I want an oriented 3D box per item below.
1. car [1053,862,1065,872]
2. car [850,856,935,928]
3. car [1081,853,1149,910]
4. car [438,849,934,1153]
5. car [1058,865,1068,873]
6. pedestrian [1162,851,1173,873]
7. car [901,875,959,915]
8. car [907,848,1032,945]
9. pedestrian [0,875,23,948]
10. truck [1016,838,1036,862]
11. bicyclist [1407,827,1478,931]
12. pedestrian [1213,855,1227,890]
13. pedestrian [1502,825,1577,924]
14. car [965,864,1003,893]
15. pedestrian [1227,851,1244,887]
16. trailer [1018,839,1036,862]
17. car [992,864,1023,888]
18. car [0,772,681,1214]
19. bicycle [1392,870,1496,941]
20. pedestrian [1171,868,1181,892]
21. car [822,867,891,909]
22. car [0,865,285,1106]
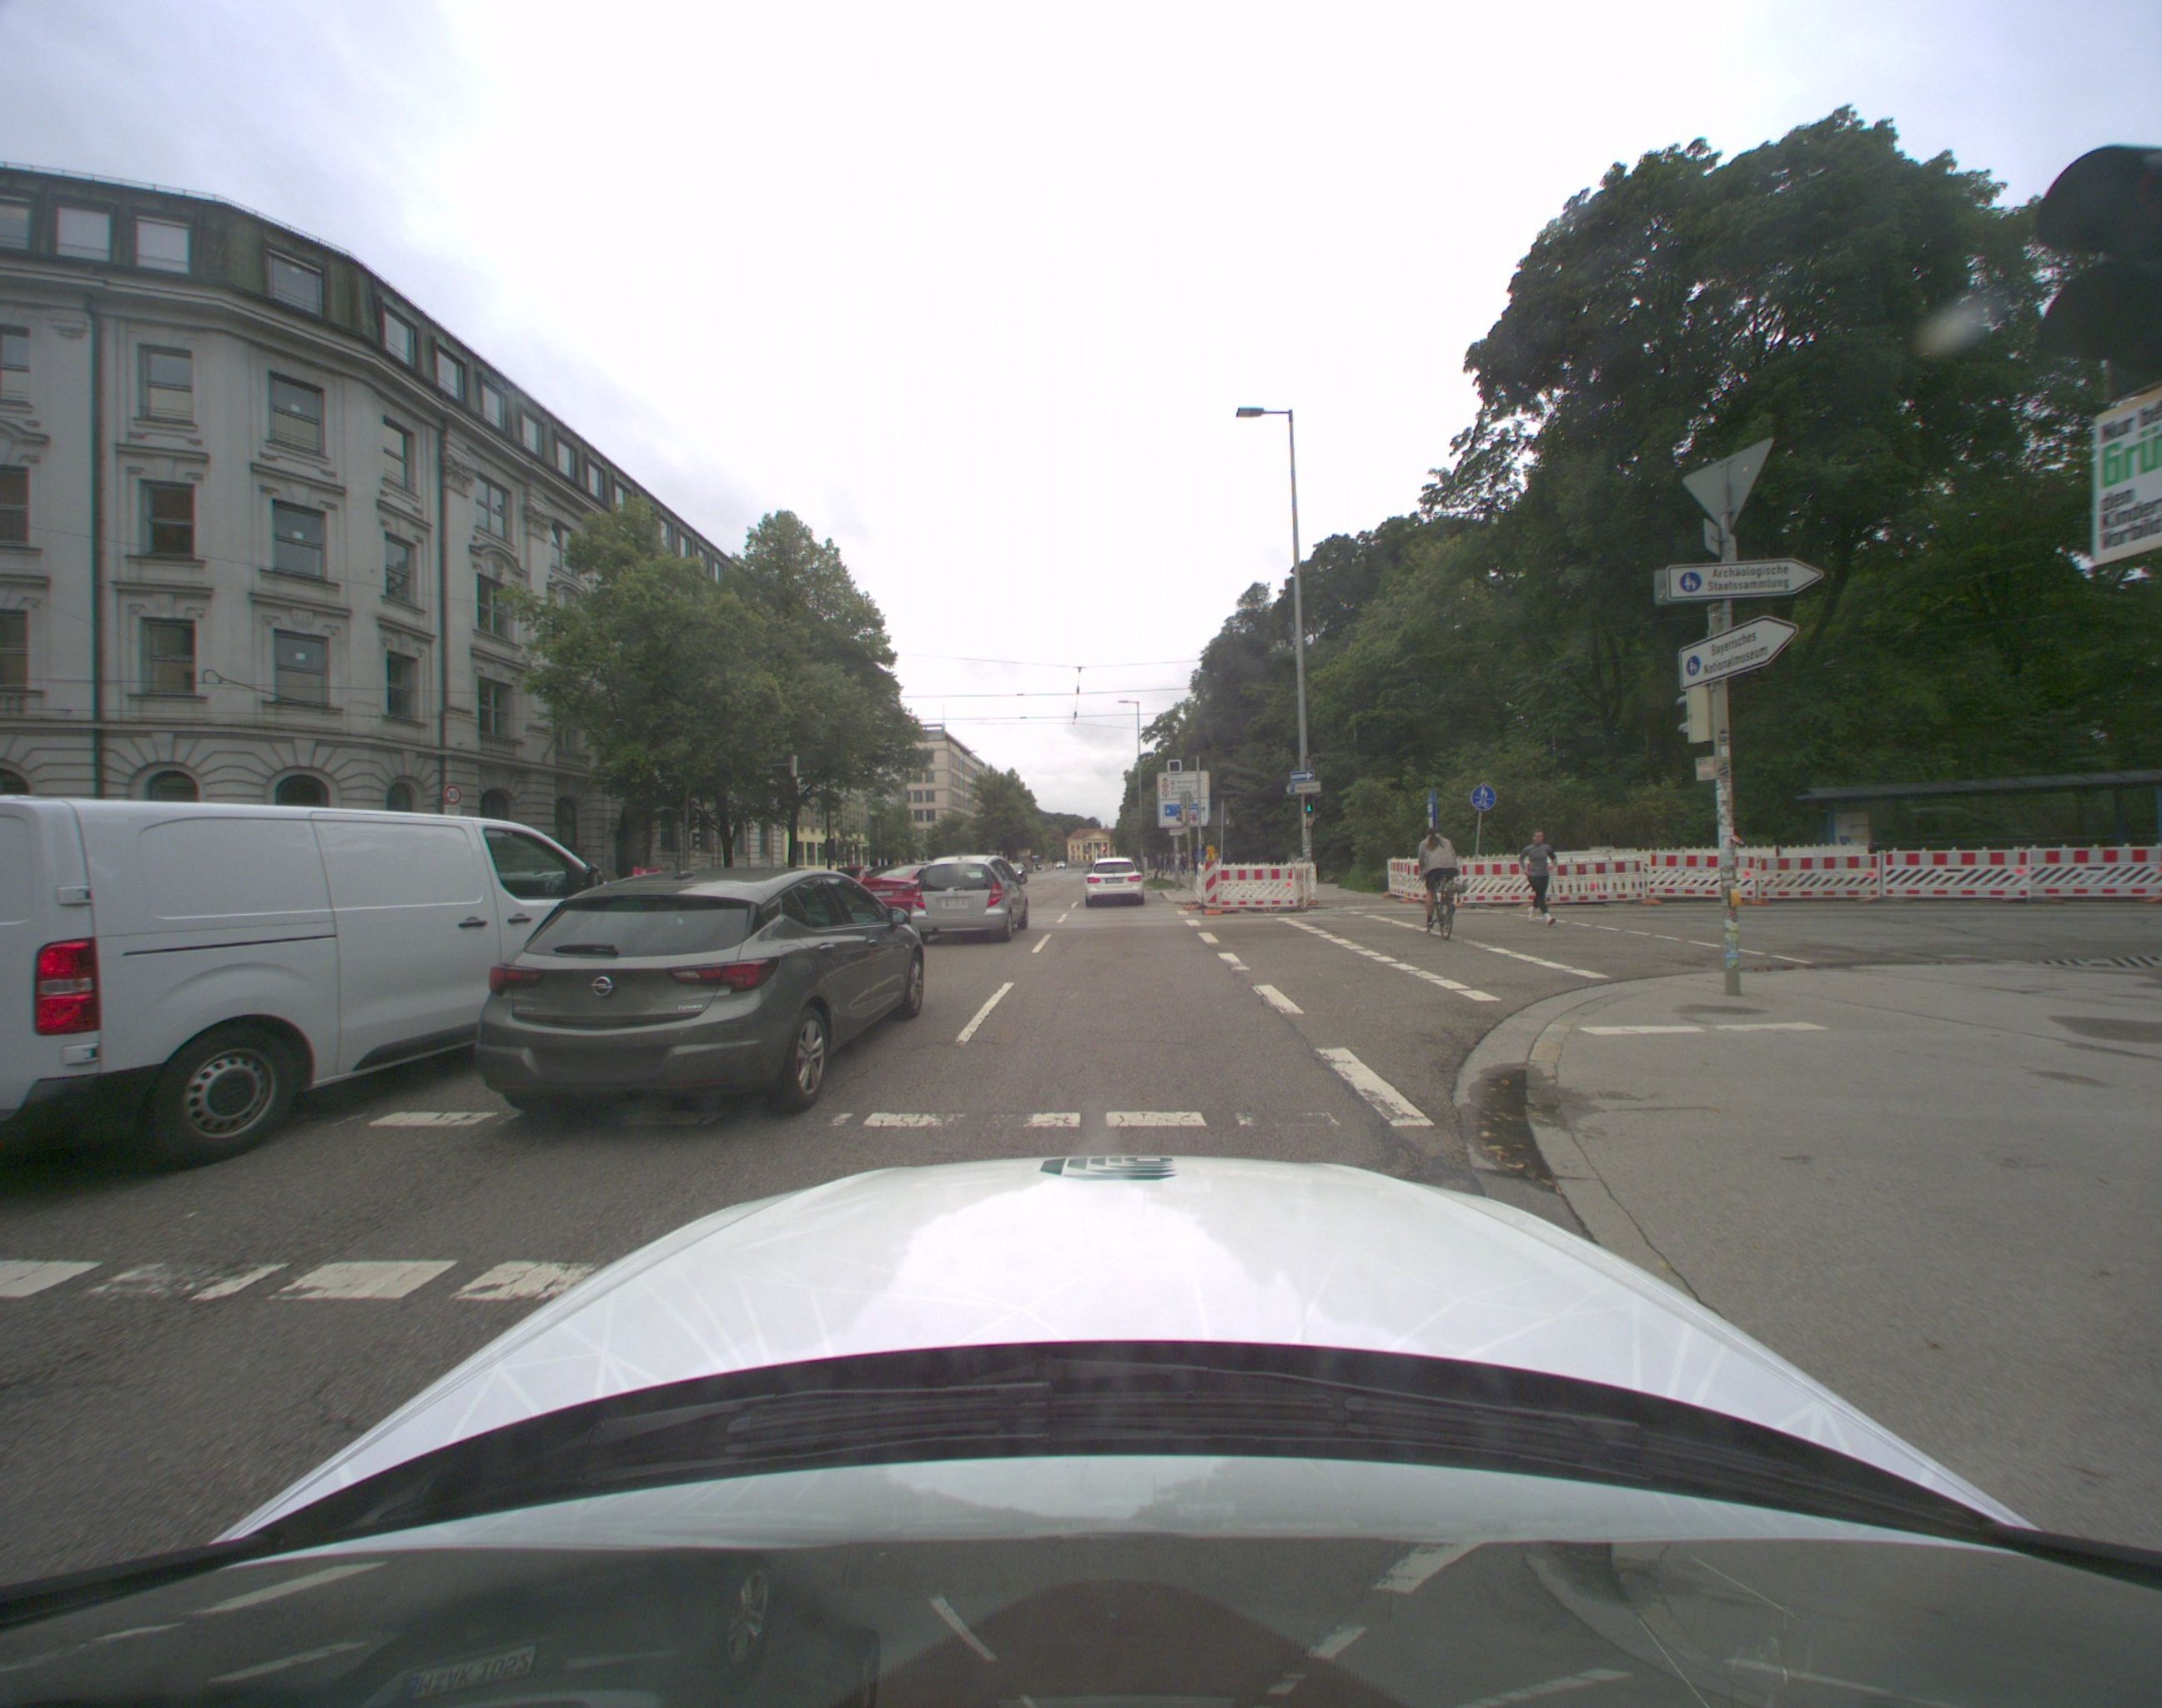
[{"bbox_3d":[-4.312,2.515,160.865,1.850,1.748,4.633,-3,0,3],"label":"car"},{"bbox_3d":[-4.695,0.888,20.795,1.778,1.654,3.988,0,-1,-8],"label":"car"},{"bbox_3d":[0.987,0.813,25.600,1.775,1.644,3.996,0,-1,-3],"label":"car"},{"bbox_3d":[-2.393,0.770,6.181,1.704,1.552,4.001,0,-1,2],"label":"car"},{"bbox_3d":[-3.589,3.072,165.221,1.710,1.640,3.509,-2,-1,2],"label":"car"},{"bbox_3d":[7.543,0.689,70.983,0.795,1.881,0.547,-1,-1,38],"label":"pedestrian"},{"bbox_3d":[-6.710,1.804,36.554,1.628,1.571,3.948,-2,0,2],"label":"car"},{"bbox_3d":[-2.039,0.742,16.014,1.772,1.654,4.001,0,-1,2],"label":"car"},{"bbox_3d":[-30.378,1.595,22.684,0.780,2.014,0.798,0,-1,-19],"label":"pedestrian"},{"bbox_3d":[-8.989,-0.570,134.117,2.908,3.775,7.660,0,-1,-2],"label":"truck"},{"bbox_3d":[5.996,0.398,13.550,0.754,1.667,0.898,0,-1,-2],"label":"bicyclist"},{"bbox_3d":[7.339,0.955,43.058,0.668,1.839,0.641,0,-1,3],"label":"pedestrian"},{"bbox_3d":[8.457,0.374,15.072,0.769,1.764,1.067,0,-1,-1],"label":"pedestrian"},{"bbox_3d":[-5.786,1.446,49.078,1.628,1.571,3.948,-2,0,2],"label":"car"},{"bbox_3d":[8.138,0.790,42.901,0.748,1.839,0.757,0,-1,3],"label":"pedestrian"},{"bbox_3d":[-9.282,-0.529,141.760,2.943,3.740,11.758,0,-1,-3],"label":"trailer"},{"bbox_3d":[-5.266,1.543,58.724,1.628,1.571,3.948,-2,0,2],"label":"car"},{"bbox_3d":[-5.162,0.639,5.908,1.891,1.847,4.957,-2,-1,2],"label":"car"},{"bbox_3d":[5.999,0.809,13.619,0.736,1.058,2.161,0,-1,-1],"label":"bicycle"},{"bbox_3d":[7.837,2.155,67.037,0.705,1.915,0.957,0,-1,2],"label":"pedestrian"},{"bbox_3d":[-9.346,1.372,34.203,1.628,1.571,3.948,-2,0,2],"label":"car"},{"bbox_3d":[-8.007,0.887,5.060,1.716,1.586,4.375,-2,-1,2],"label":"car"}]
